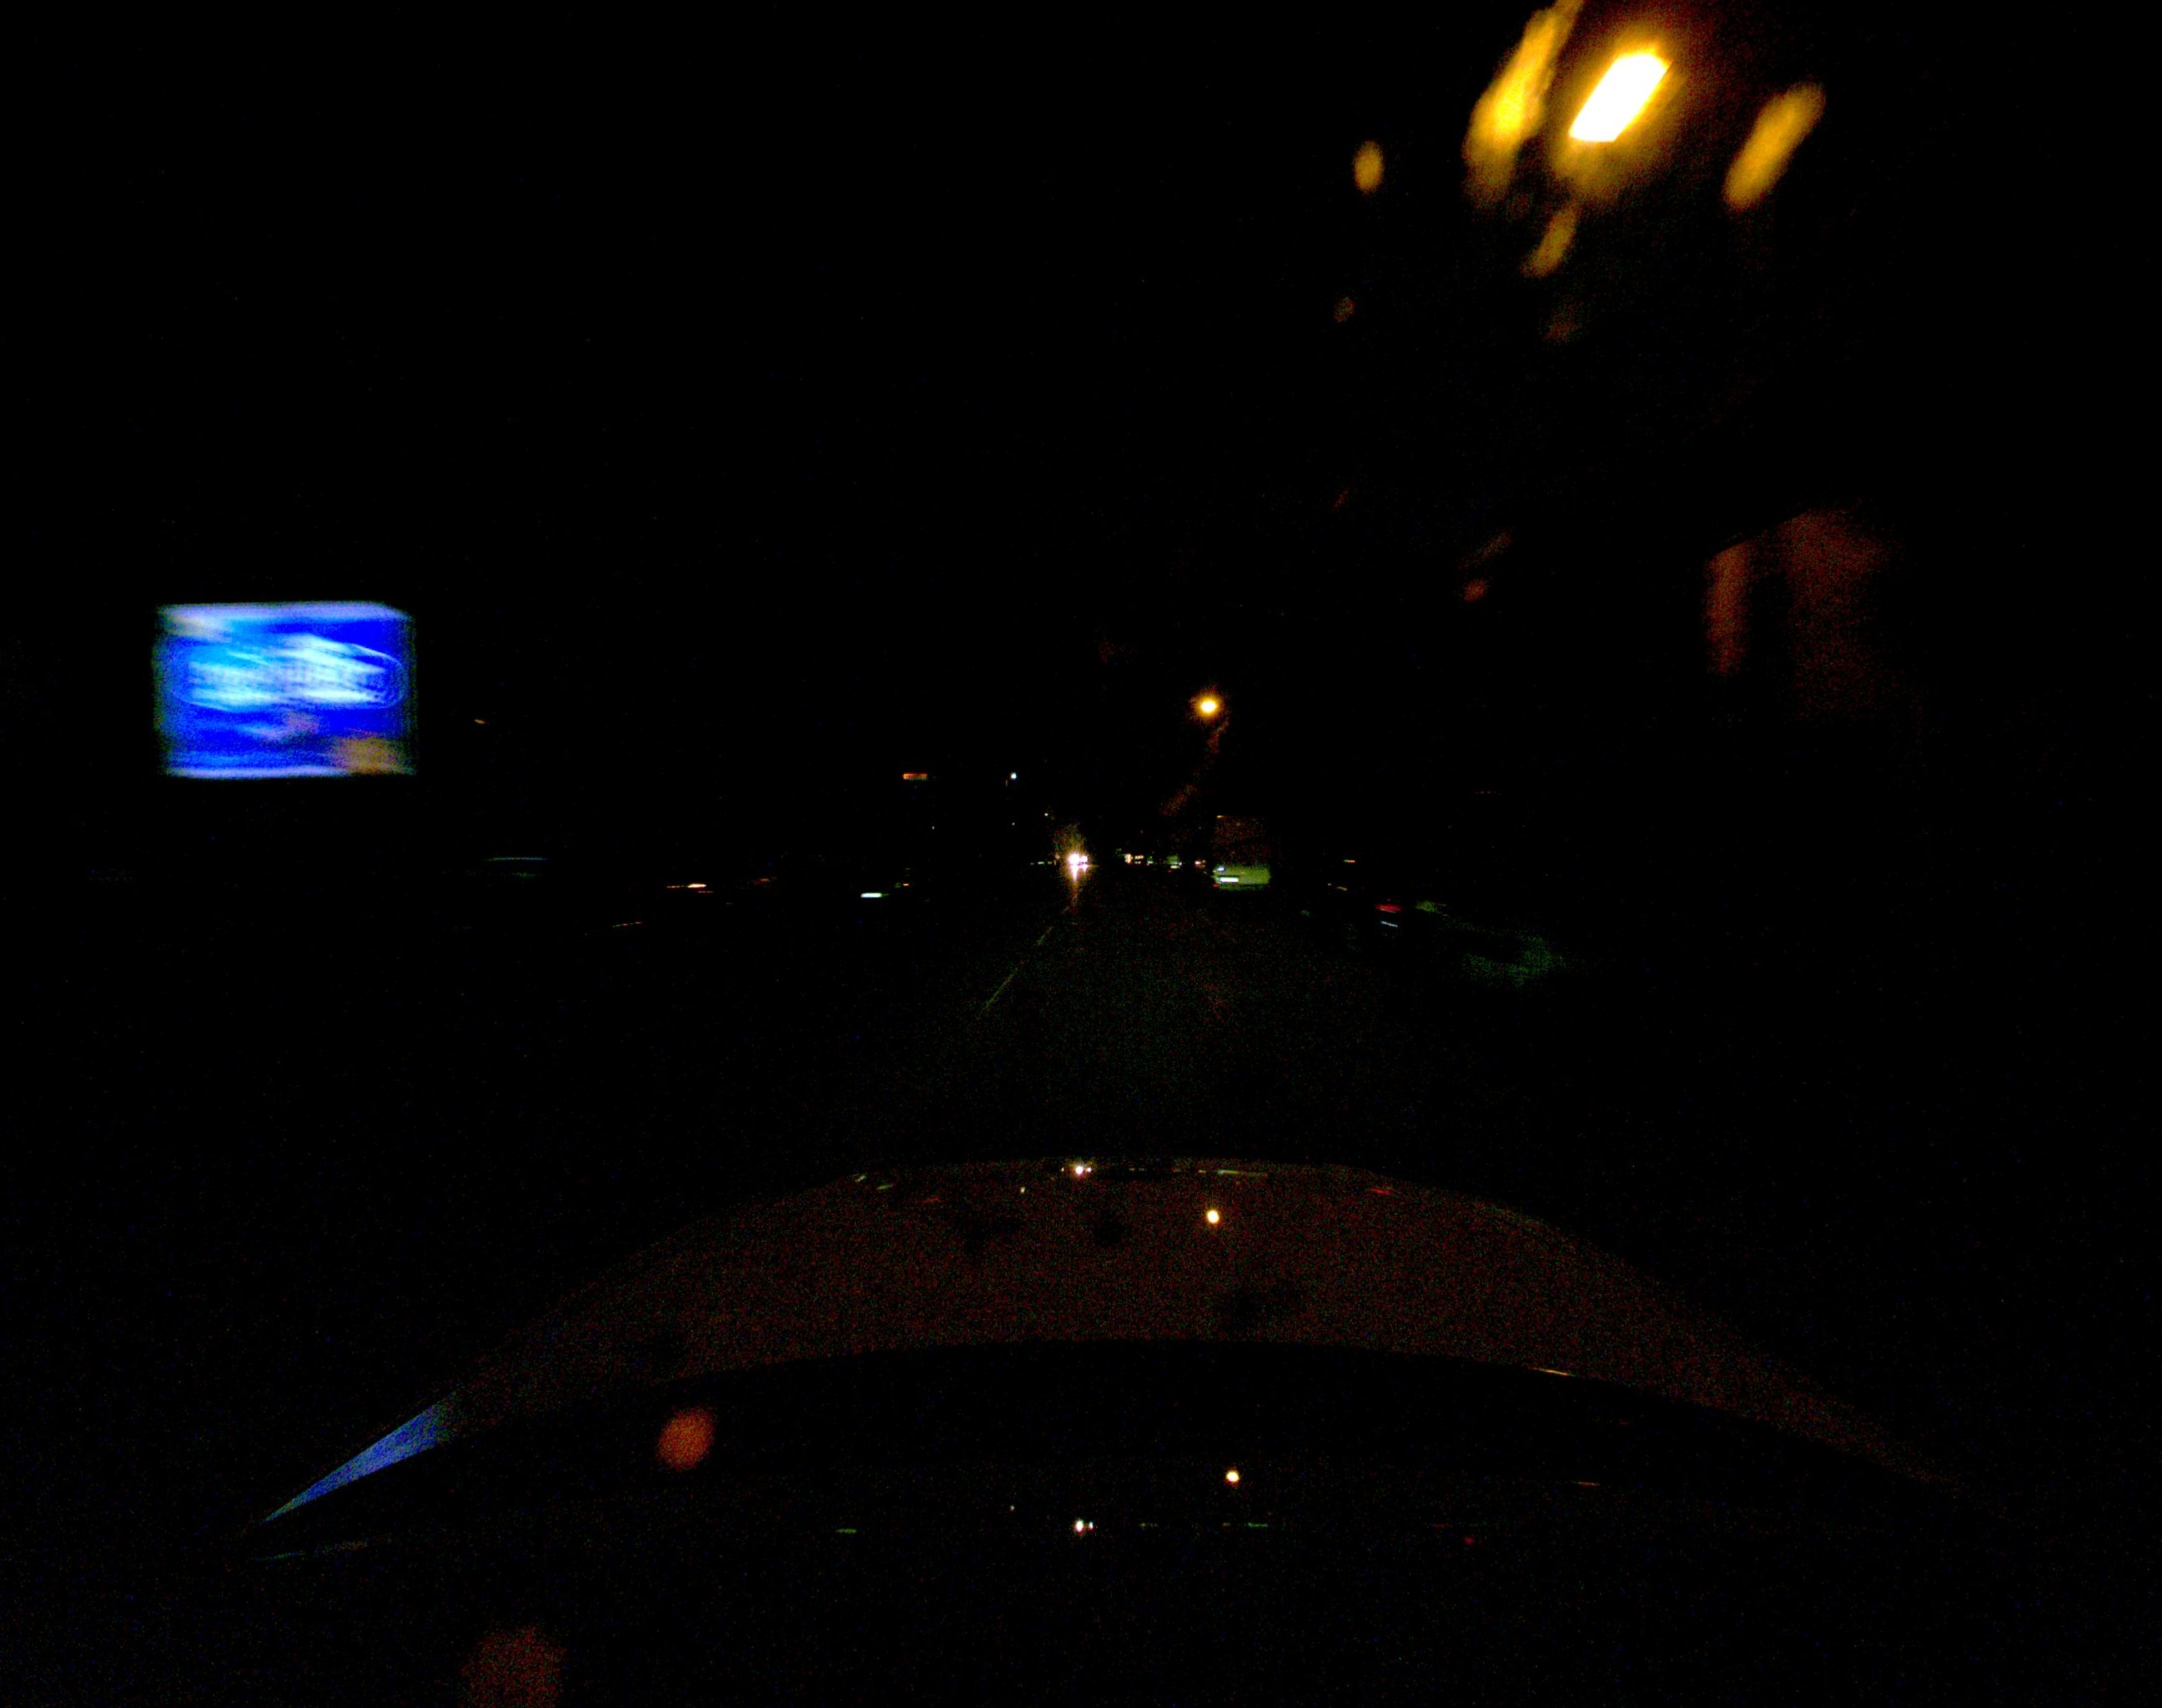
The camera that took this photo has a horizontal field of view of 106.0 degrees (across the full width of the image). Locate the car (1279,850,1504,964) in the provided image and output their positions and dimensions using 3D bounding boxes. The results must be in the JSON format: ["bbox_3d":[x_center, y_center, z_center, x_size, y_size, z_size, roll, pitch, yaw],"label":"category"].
[{"bbox_3d":[4.566,0.671,12.874,1.823,1.407,4.911,1,0,2],"label":"car"}]

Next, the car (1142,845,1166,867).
[{"bbox_3d":[7.147,0.207,80.146,1.986,2.013,4.914,-2,0,2],"label":"car"}]

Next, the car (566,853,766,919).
[{"bbox_3d":[-11.255,0.823,22.378,4.682,1.551,1.982,-1,0,-27],"label":"car"}]

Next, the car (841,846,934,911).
[{"bbox_3d":[-6.023,0.713,25.882,1.807,1.849,4.415,-2,0,1],"label":"car"}]

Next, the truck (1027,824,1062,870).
[{"bbox_3d":[-3.412,-0.624,78.104,2.737,4.034,9.559,-1,0,0],"label":"truck"}]

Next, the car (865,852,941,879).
[{"bbox_3d":[-10.886,0.683,49.823,4.094,1.432,1.906,3,1,20],"label":"car"}]

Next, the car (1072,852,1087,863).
[{"bbox_3d":[-0.155,0.457,107.995,1.851,1.420,4.001,-1,0,1],"label":"car"}]

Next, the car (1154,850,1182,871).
[{"bbox_3d":[6.448,0.445,60.953,1.937,1.489,5.017,-1,0,4],"label":"car"}]

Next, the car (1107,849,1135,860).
[{"bbox_3d":[7.006,0.067,142.629,4.341,1.646,1.879,-4,1,-20],"label":"car"}]

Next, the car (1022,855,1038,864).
[{"bbox_3d":[-8.820,0.926,140.456,1.818,1.371,4.337,-1,0,-16],"label":"car"}]

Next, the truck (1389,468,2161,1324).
[{"bbox_3d":[4.475,0.087,5.728,2.391,2.594,6.602,-1,0,3],"label":"truck"}]

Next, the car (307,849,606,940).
[{"bbox_3d":[-12.398,0.734,16.595,4.419,1.560,1.985,-1,0,-23],"label":"car"}]

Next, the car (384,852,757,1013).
[{"bbox_3d":[-6.494,0.843,11.223,1.940,1.688,4.818,-1,0,2],"label":"car"}]

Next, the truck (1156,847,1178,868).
[{"bbox_3d":[6.968,0.284,66.271,1.365,1.644,3.813,-2,0,1],"label":"truck"}]

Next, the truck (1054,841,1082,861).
[{"bbox_3d":[-2.610,-0.542,159.550,2.763,3.783,9.079,-2,0,-19],"label":"truck"}]

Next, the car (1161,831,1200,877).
[{"bbox_3d":[5.823,-0.026,48.196,1.984,2.525,5.917,1,0,5],"label":"car"}]

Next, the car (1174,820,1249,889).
[{"bbox_3d":[5.333,0.007,34.138,2.122,2.571,5.907,1,0,-1],"label":"car"}]

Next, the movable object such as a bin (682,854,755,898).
[{"bbox_3d":[-13.050,0.769,29.375,1.850,1.500,1.610,-1,0,2],"label":"movable object such as a bin"}]

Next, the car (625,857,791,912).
[{"bbox_3d":[-11.336,0.885,24.912,4.425,1.440,1.778,-1,0,-27],"label":"car"}]

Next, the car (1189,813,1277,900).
[{"bbox_3d":[4.957,0.051,27.411,1.986,2.571,6.017,1,0,2],"label":"car"}]

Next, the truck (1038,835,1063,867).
[{"bbox_3d":[-4.262,-0.410,111.789,2.768,4.120,9.324,-2,0,-5],"label":"truck"}]
